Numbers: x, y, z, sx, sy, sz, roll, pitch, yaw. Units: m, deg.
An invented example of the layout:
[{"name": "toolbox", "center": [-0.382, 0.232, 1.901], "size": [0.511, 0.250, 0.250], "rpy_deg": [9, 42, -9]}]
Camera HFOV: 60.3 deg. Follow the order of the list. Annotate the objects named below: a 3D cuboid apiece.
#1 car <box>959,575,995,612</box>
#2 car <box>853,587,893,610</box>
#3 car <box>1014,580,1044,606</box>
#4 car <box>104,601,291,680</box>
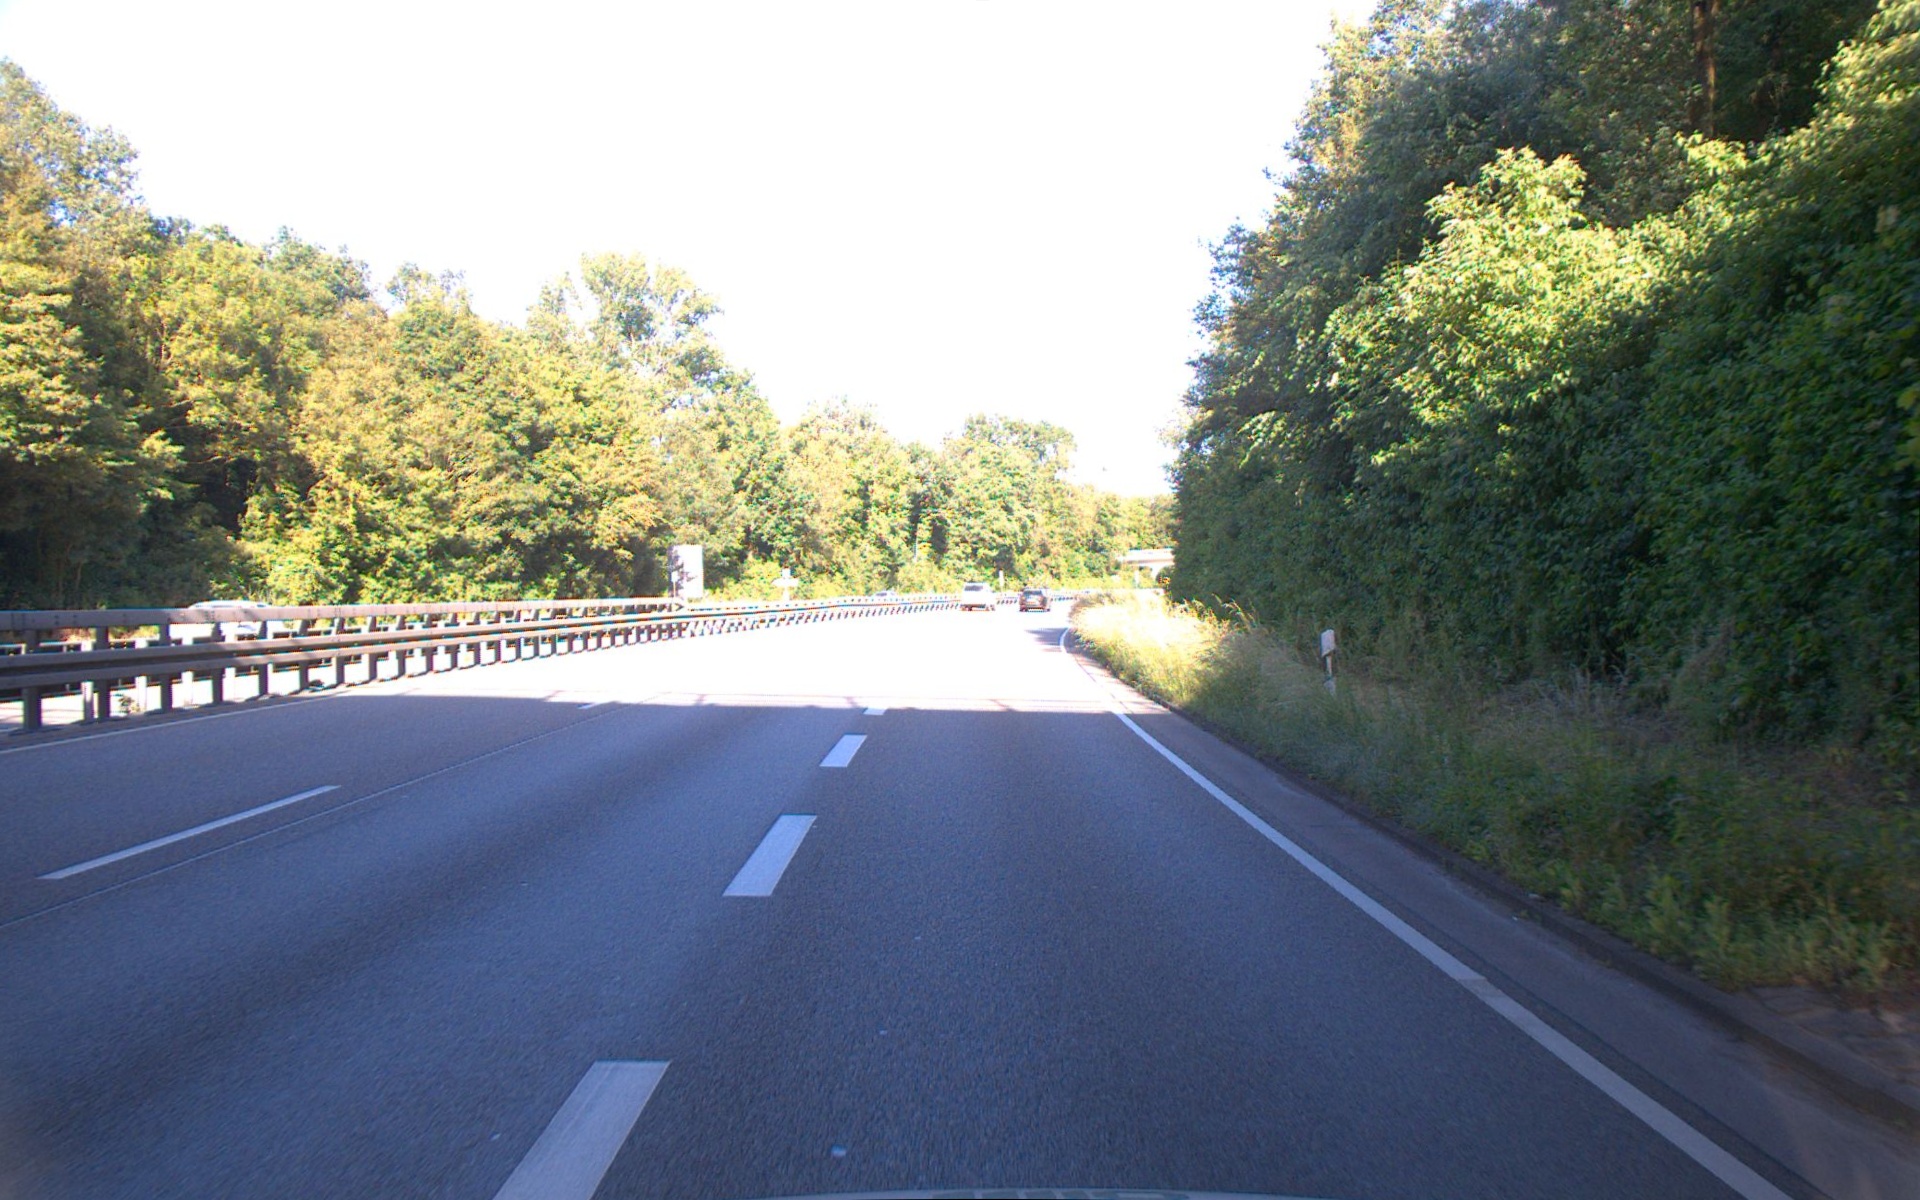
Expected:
[{"name": "car", "center": [1.143, -0.431, 108.103], "size": [1.951, 2.317, 4.003], "rpy_deg": [-1, 0, 6]}, {"name": "car", "center": [-8.026, -0.165, 153.079], "size": [1.953, 2.049, 4.627], "rpy_deg": [0, -1, 22]}, {"name": "car", "center": [4.536, -0.463, 108.093], "size": [1.702, 1.691, 3.948], "rpy_deg": [-1, 0, 6]}, {"name": "car", "center": [-17.328, 0.869, 37.881], "size": [1.952, 1.622, 4.729], "rpy_deg": [1, 0, 2]}]
